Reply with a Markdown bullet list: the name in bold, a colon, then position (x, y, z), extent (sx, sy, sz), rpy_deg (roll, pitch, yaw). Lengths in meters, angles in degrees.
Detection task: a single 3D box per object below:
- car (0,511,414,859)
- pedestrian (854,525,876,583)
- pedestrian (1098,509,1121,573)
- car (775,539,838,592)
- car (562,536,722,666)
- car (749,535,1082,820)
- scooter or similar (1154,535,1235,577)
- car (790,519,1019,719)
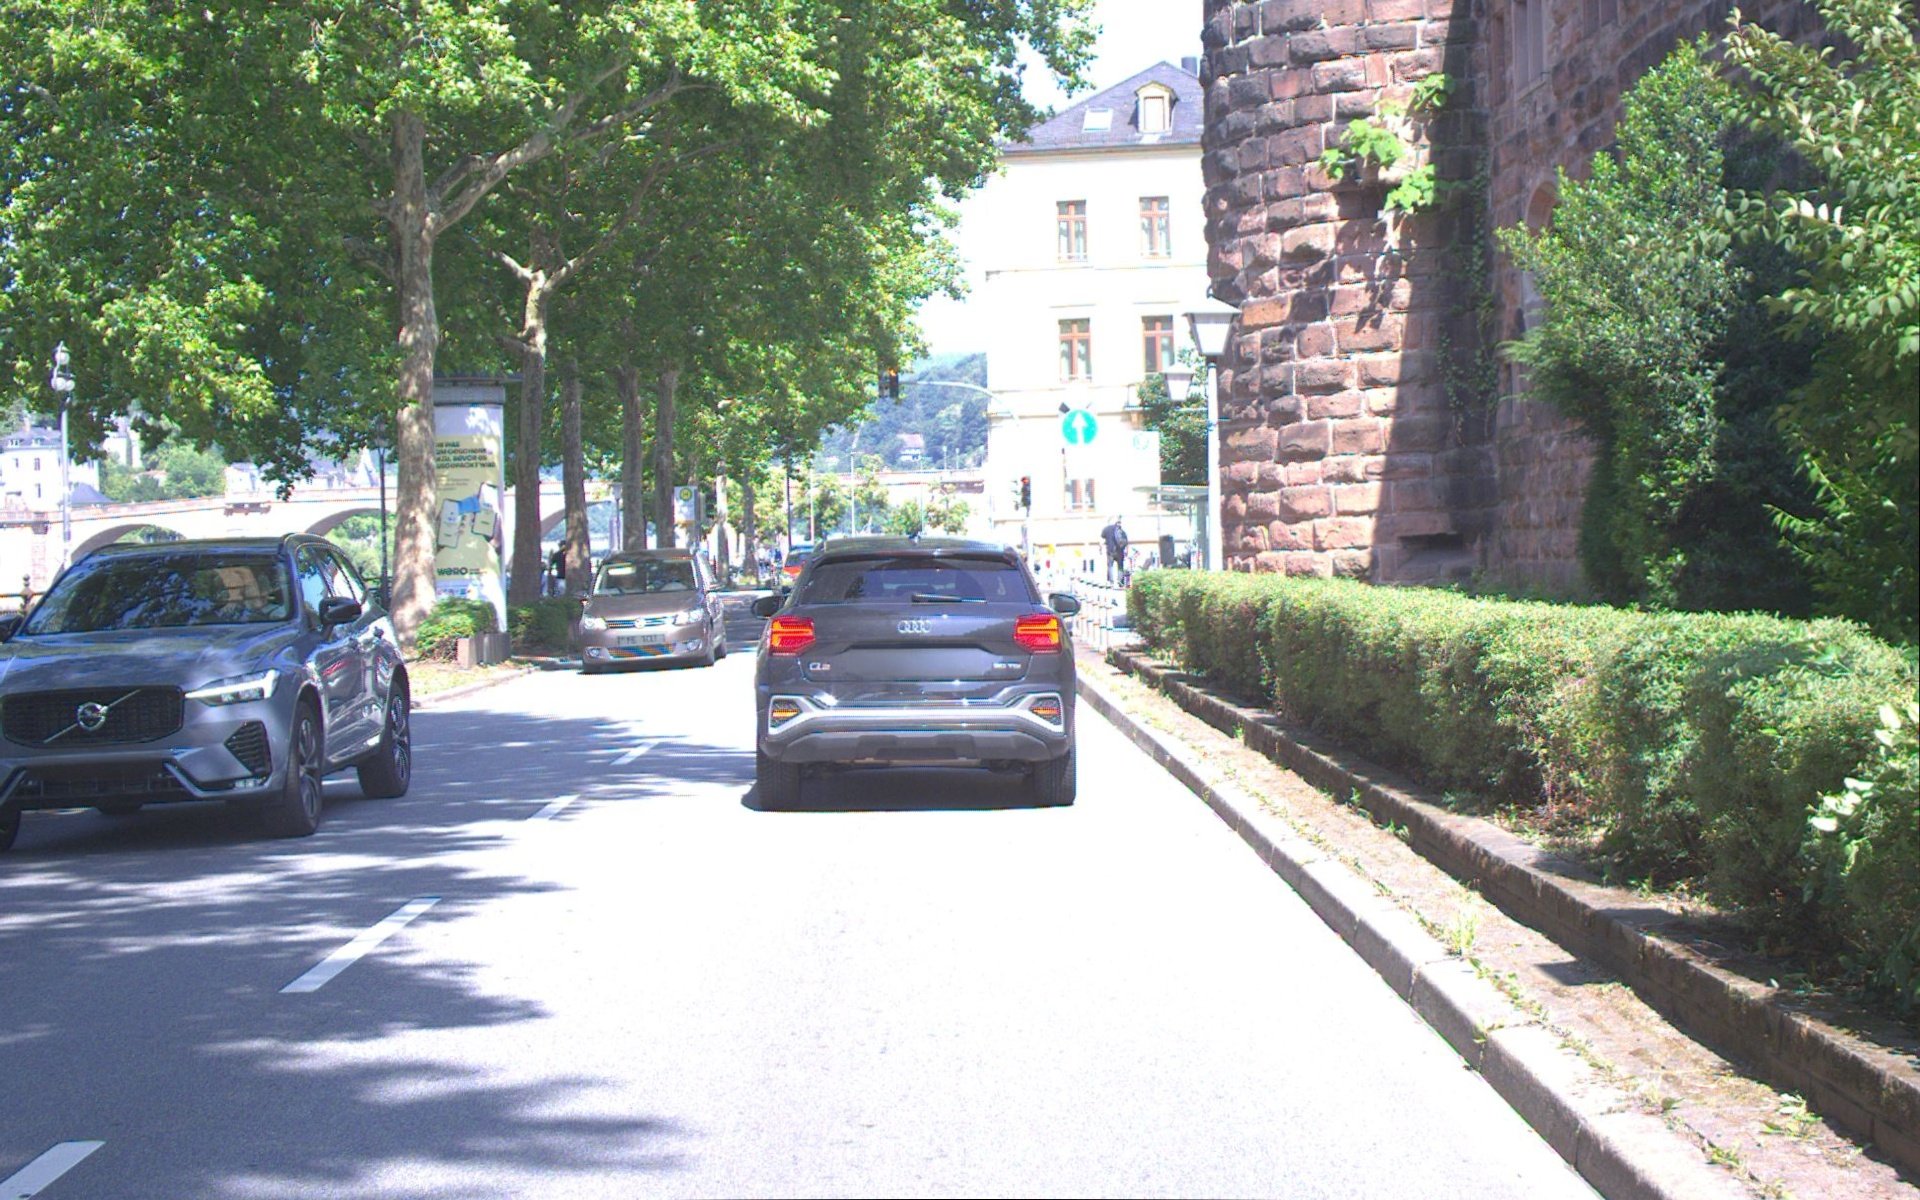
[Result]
- **car**: position (-4.360, 0.400, 19.477), extent (1.877, 1.692, 4.259), rpy_deg (-2, 1, -1)
- **pedestrian**: position (-2.686, -1.297, 97.499), extent (0.517, 1.632, 0.439), rpy_deg (-2, 1, -7)
- **pedestrian**: position (3.801, -1.505, 87.473), extent (0.557, 1.627, 0.660), rpy_deg (0, 0, 1)
- **car**: position (-4.645, -1.059, 104.242), extent (1.615, 1.518, 3.476), rpy_deg (-2, 1, 1)
- **car**: position (-4.332, -0.025, 47.342), extent (1.763, 1.642, 4.090), rpy_deg (-2, 1, 0)
- **car**: position (-0.280, 0.381, 20.070), extent (1.748, 1.489, 3.629), rpy_deg (-1, 1, -1)
- **scooter or similar**: position (5.504, -1.040, 80.773), extent (1.845, 0.960, 0.429), rpy_deg (1, 0, -1)
- **car**: position (-0.452, 0.125, 29.879), extent (1.801, 1.557, 3.716), rpy_deg (-2, 1, 0)
